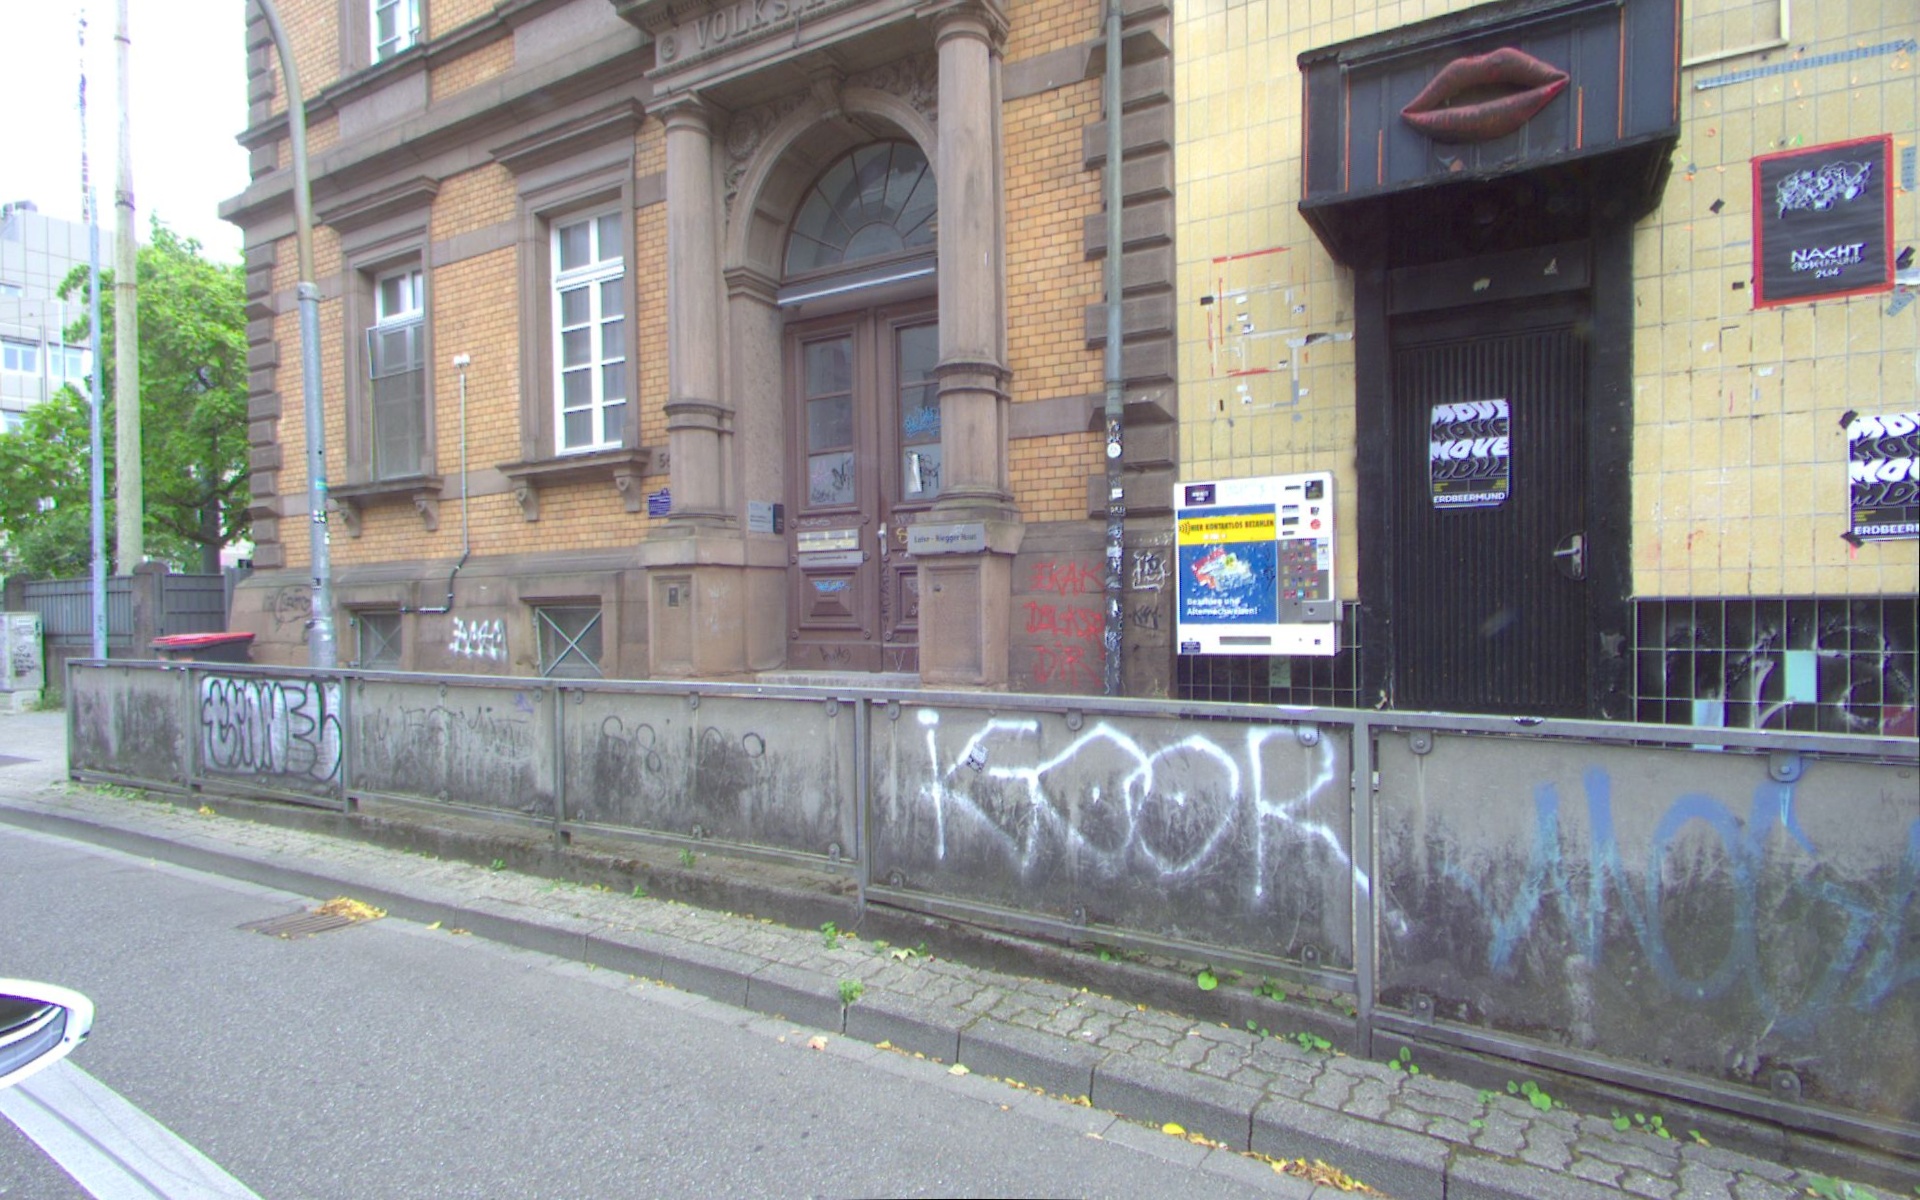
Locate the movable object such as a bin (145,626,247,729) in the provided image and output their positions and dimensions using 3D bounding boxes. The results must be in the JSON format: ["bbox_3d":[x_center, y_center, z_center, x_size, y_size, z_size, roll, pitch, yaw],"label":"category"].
[{"bbox_3d":[-8.890,0.885,11.660,0.667,1.097,0.650,-1,4,27],"label":"movable object such as a bin"}]

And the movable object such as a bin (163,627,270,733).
[{"bbox_3d":[-8.326,0.877,11.230,0.690,1.097,0.662,-1,4,27],"label":"movable object such as a bin"}]
